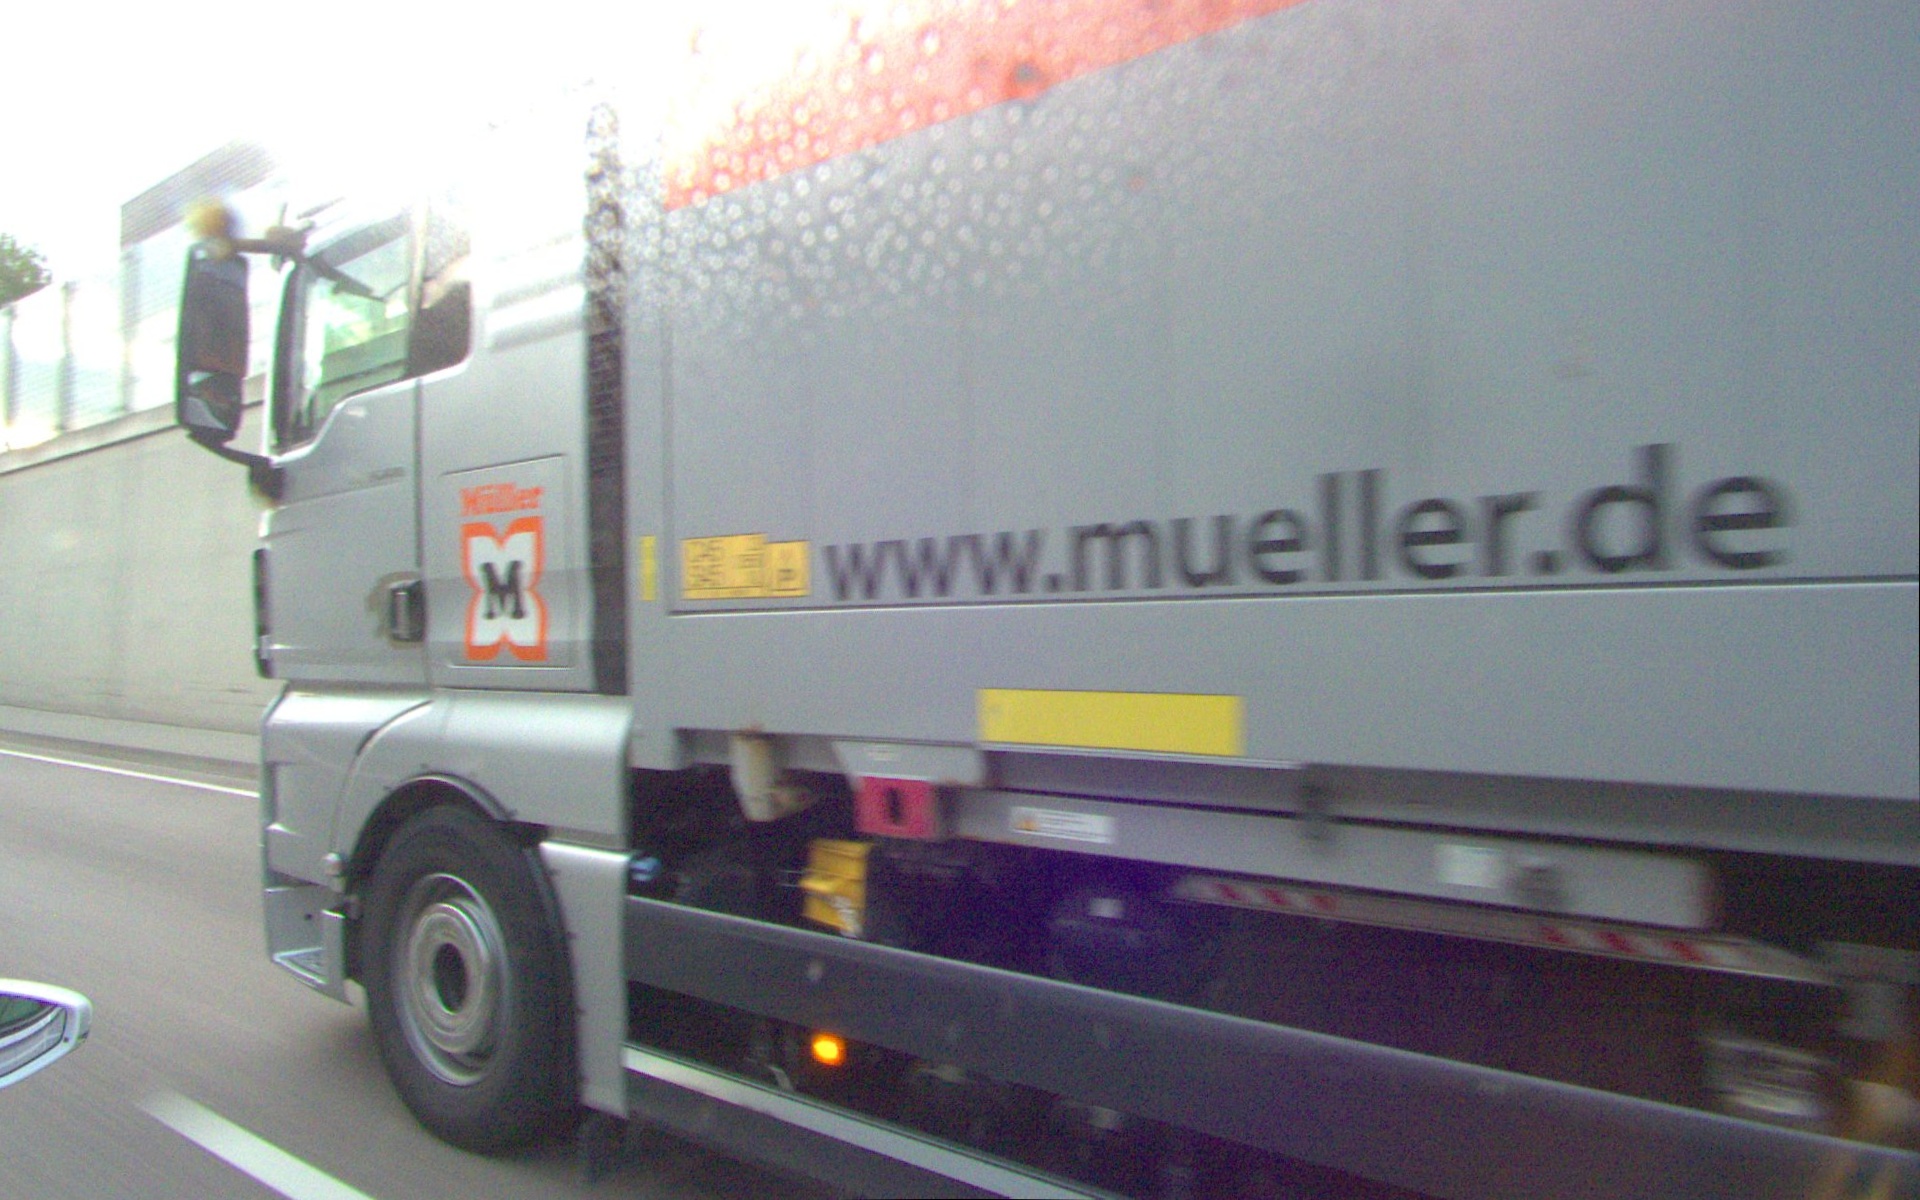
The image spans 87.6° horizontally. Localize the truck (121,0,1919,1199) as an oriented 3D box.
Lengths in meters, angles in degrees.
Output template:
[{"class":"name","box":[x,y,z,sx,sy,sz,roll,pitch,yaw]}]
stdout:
[{"class":"truck","box":[1.956,-0.495,2.058,9.770,3.963,2.884,-1,-2,33]}]
